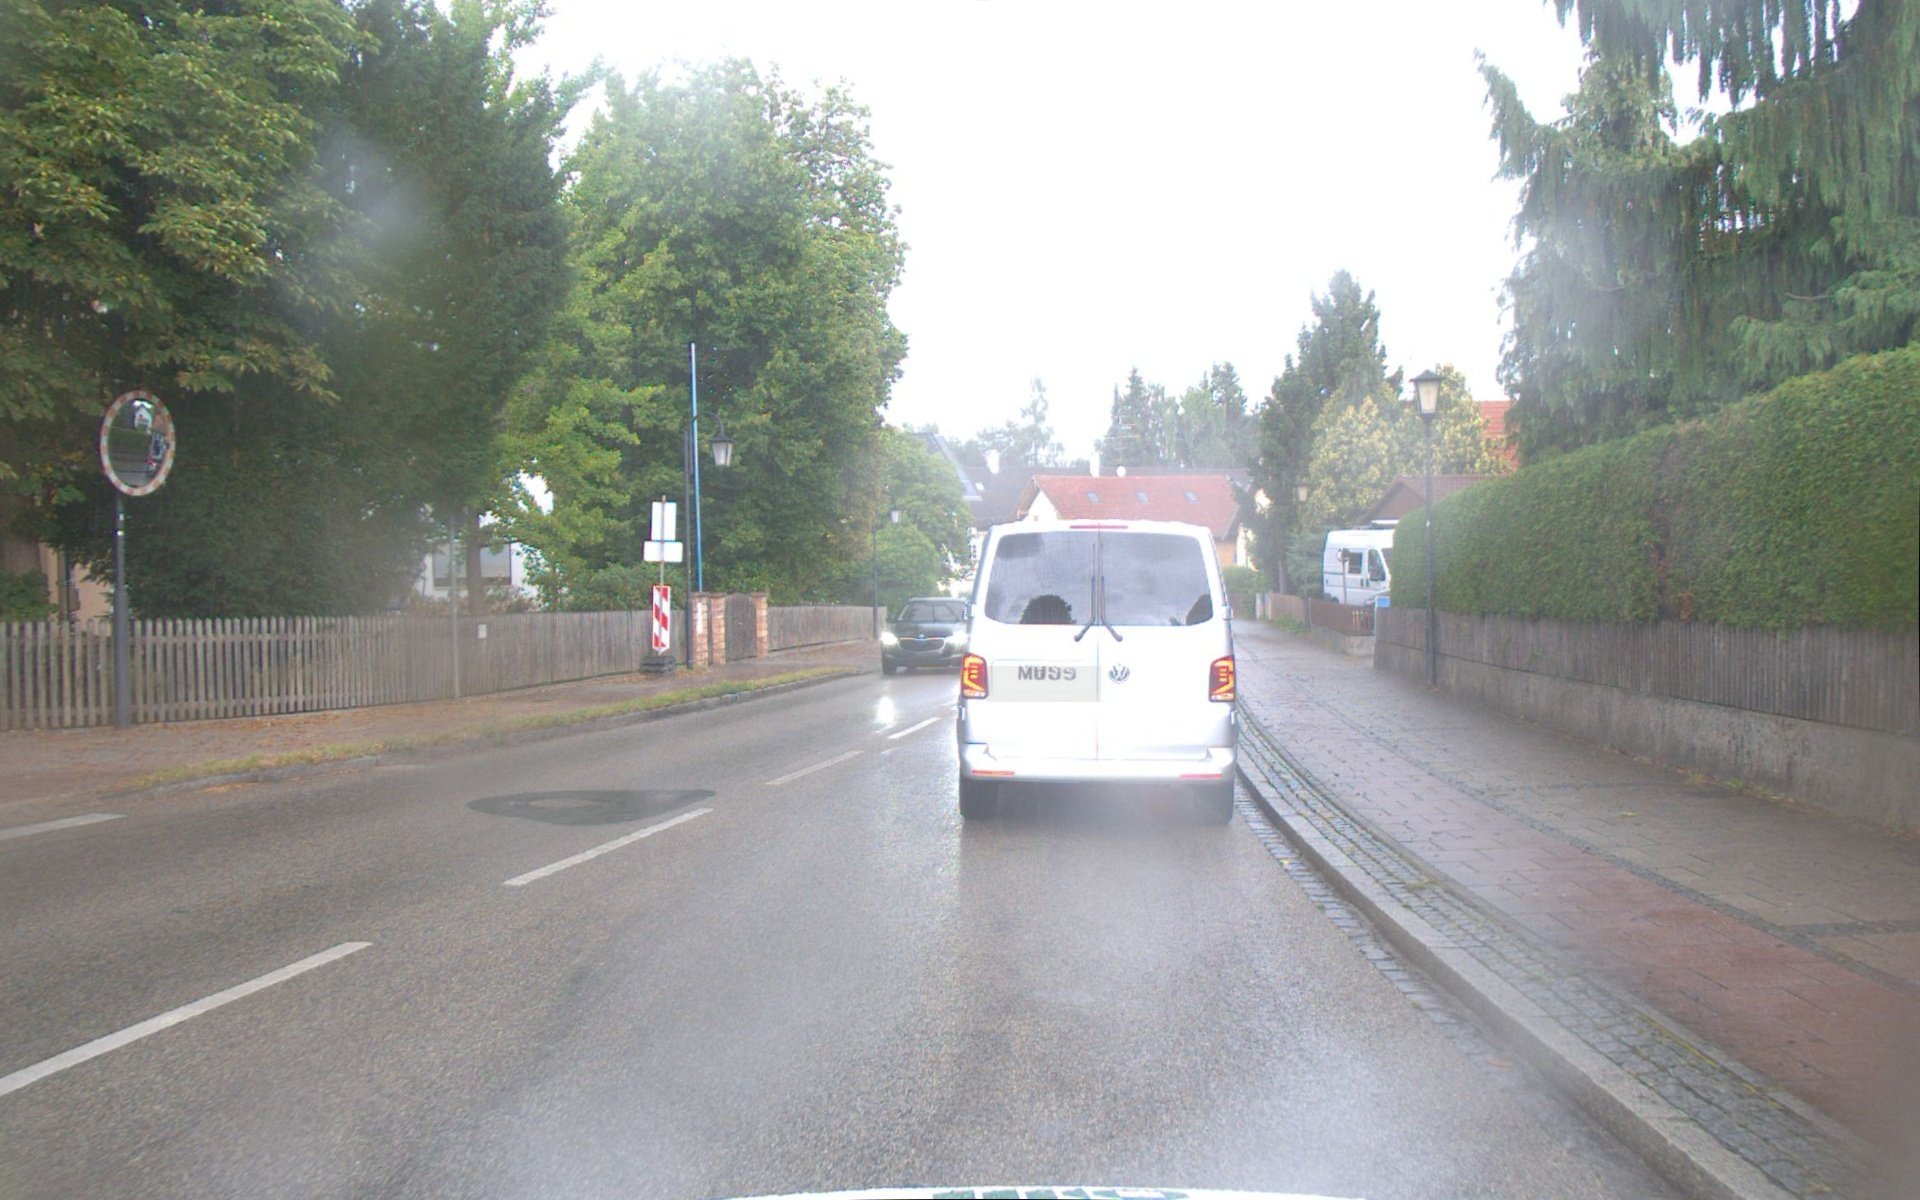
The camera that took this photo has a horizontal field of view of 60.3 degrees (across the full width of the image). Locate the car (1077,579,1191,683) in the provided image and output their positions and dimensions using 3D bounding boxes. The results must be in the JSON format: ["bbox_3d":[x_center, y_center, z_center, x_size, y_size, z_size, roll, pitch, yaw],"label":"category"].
[{"bbox_3d":[2.966,0.512,28.157,1.762,1.616,4.003,1,0,6],"label":"car"}]

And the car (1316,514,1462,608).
[{"bbox_3d":[10.813,-0.922,42.095,1.955,2.211,4.946,1,0,-6],"label":"car"}]

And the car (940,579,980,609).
[{"bbox_3d":[-0.017,-0.420,120.134,1.960,2.049,3.984,1,-1,-15],"label":"car"}]

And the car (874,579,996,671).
[{"bbox_3d":[-0.430,0.484,33.086,1.746,1.692,4.449,0,-1,8],"label":"car"}]

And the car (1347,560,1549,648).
[{"bbox_3d":[10.749,0.068,36.644,4.007,1.782,1.695,-1,2,3],"label":"car"}]

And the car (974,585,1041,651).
[{"bbox_3d":[1.420,0.512,47.991,1.605,1.796,4.333,1,0,5],"label":"car"}]

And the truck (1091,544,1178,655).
[{"bbox_3d":[5.315,0.010,50.334,2.423,3.128,6.300,1,-1,6],"label":"truck"}]

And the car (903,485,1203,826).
[{"bbox_3d":[0.848,0.344,12.075,1.762,2.049,4.003,1,-1,9],"label":"car"}]
